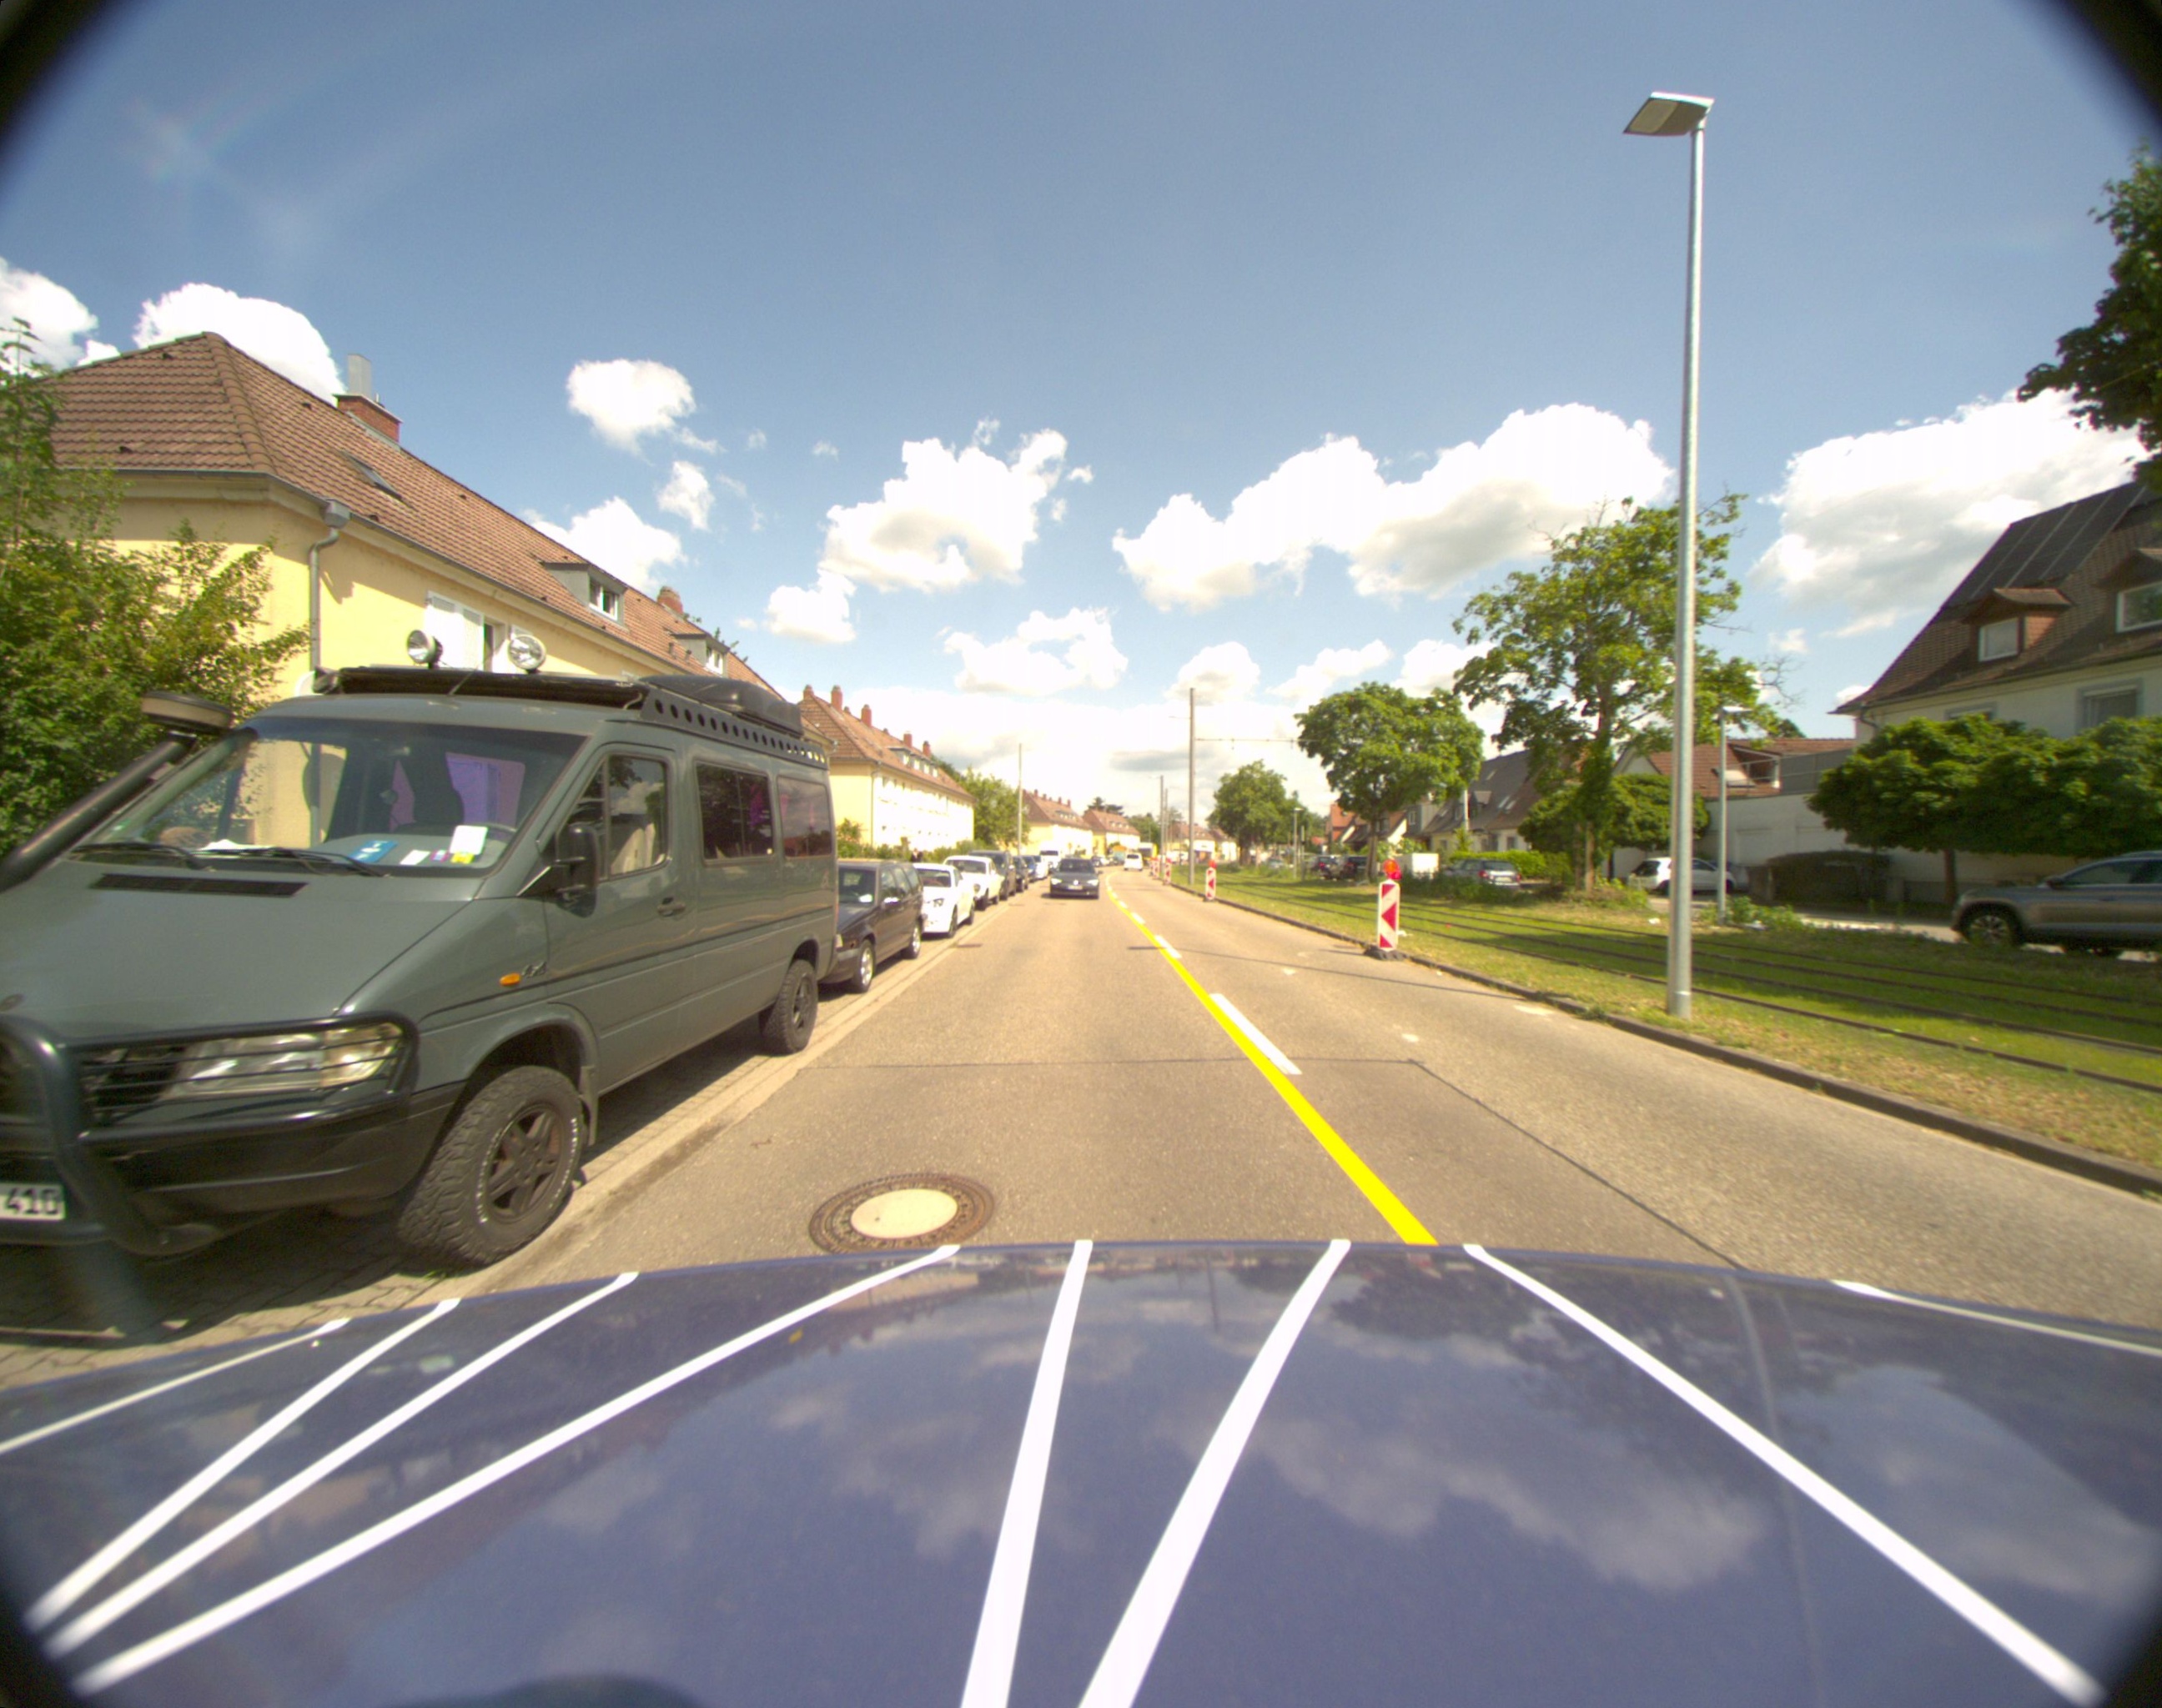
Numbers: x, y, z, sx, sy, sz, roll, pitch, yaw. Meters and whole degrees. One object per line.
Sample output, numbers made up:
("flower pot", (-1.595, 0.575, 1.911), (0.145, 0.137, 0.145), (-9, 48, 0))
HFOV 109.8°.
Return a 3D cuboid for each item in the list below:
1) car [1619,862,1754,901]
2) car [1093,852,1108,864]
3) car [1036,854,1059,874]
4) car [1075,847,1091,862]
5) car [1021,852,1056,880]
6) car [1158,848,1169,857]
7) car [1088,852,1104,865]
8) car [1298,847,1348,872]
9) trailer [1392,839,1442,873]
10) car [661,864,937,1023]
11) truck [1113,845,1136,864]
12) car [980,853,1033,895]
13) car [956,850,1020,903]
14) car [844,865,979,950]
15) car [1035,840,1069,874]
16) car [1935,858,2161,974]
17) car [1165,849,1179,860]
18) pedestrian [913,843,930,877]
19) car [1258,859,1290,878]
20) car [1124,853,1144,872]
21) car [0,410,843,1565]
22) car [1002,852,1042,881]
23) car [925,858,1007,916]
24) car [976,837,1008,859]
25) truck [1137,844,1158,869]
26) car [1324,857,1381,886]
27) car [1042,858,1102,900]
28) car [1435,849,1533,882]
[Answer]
("car", (24.891, 1.120, 31.359), (3.997, 1.518, 2.000), (1, -1, 0))
("car", (2.642, 0.459, 100.340), (1.512, 1.490, 3.576), (1, 1, 9))
("car", (-2.363, 0.659, 54.023), (1.358, 1.299, 3.542), (1, 1, 1))
("car", (0.236, 0.029, 83.248), (1.513, 1.490, 3.408), (1, 1, 6))
("car", (-2.479, 0.684, 45.576), (1.756, 1.480, 4.627), (1, 1, 1))
("car", (13.689, -0.266, 126.055), (1.512, 1.490, 3.577), (1, 1, 12))
("car", (1.901, 0.559, 95.420), (1.512, 1.490, 3.577), (1, 1, 10))
("car", (16.028, 0.301, 50.598), (1.998, 1.531, 4.321), (1, 1, 1))
("trailer", (15.549, 0.067, 35.256), (1.302, 1.510, 2.281), (1, 1, 0))
("car", (-3.190, 0.902, 9.776), (1.725, 1.394, 4.836), (1, 1, 0))
("truck", (7.160, 0.056, 123.589), (2.530, 2.931, 7.867), (1, 1, 13))
("car", (-2.994, 0.760, 31.260), (1.689, 1.429, 4.515), (1, 2, 0))
("car", (-3.132, 0.698, 26.272), (1.683, 1.621, 4.270), (1, 1, 0))
("car", (-3.130, 0.930, 14.845), (1.725, 1.288, 4.128), (1, 1, -1))
("car", (-2.191, 0.203, 58.736), (1.923, 2.522, 5.345), (1, 1, 5))
("car", (15.645, 0.873, 10.775), (1.998, 1.497, 4.485), (1, 1, 0))
("car", (16.791, 0.105, 139.730), (1.839, 2.043, 3.873), (1, 1, 17))
("pedestrian", (-7.715, 0.277, 36.745), (0.617, 1.629, 0.900), (1, 2, 1))
("car", (17.607, 1.308, 69.333), (1.998, 1.531, 4.322), (1, 1, 3))
("car", (5.772, 0.913, 83.501), (1.944, 1.931, 4.561), (1, 0, 1))
("car", (-3.111, 0.299, 4.240), (2.001, 2.745, 4.878), (1, 1, 0))
("car", (-3.096, 0.627, 40.498), (1.702, 1.421, 3.898), (1, 1, 1))
("car", (-3.164, 0.853, 21.622), (1.654, 1.410, 4.025), (1, 1, 1))
("car", (-7.255, -0.502, 62.328), (1.926, 1.736, 4.048), (1, 0, 3))
("truck", (9.078, 0.306, 103.552), (2.702, 3.346, 8.052), (1, 1, 5))
("car", (16.161, 1.028, 45.424), (1.910, 1.569, 4.101), (3, -1, 1))
("car", (-0.417, 0.889, 28.403), (1.787, 1.412, 4.288), (-1, -1, -7))
("car", (15.727, 0.415, 29.890), (1.786, 1.087, 3.835), (1, 2, 0))
